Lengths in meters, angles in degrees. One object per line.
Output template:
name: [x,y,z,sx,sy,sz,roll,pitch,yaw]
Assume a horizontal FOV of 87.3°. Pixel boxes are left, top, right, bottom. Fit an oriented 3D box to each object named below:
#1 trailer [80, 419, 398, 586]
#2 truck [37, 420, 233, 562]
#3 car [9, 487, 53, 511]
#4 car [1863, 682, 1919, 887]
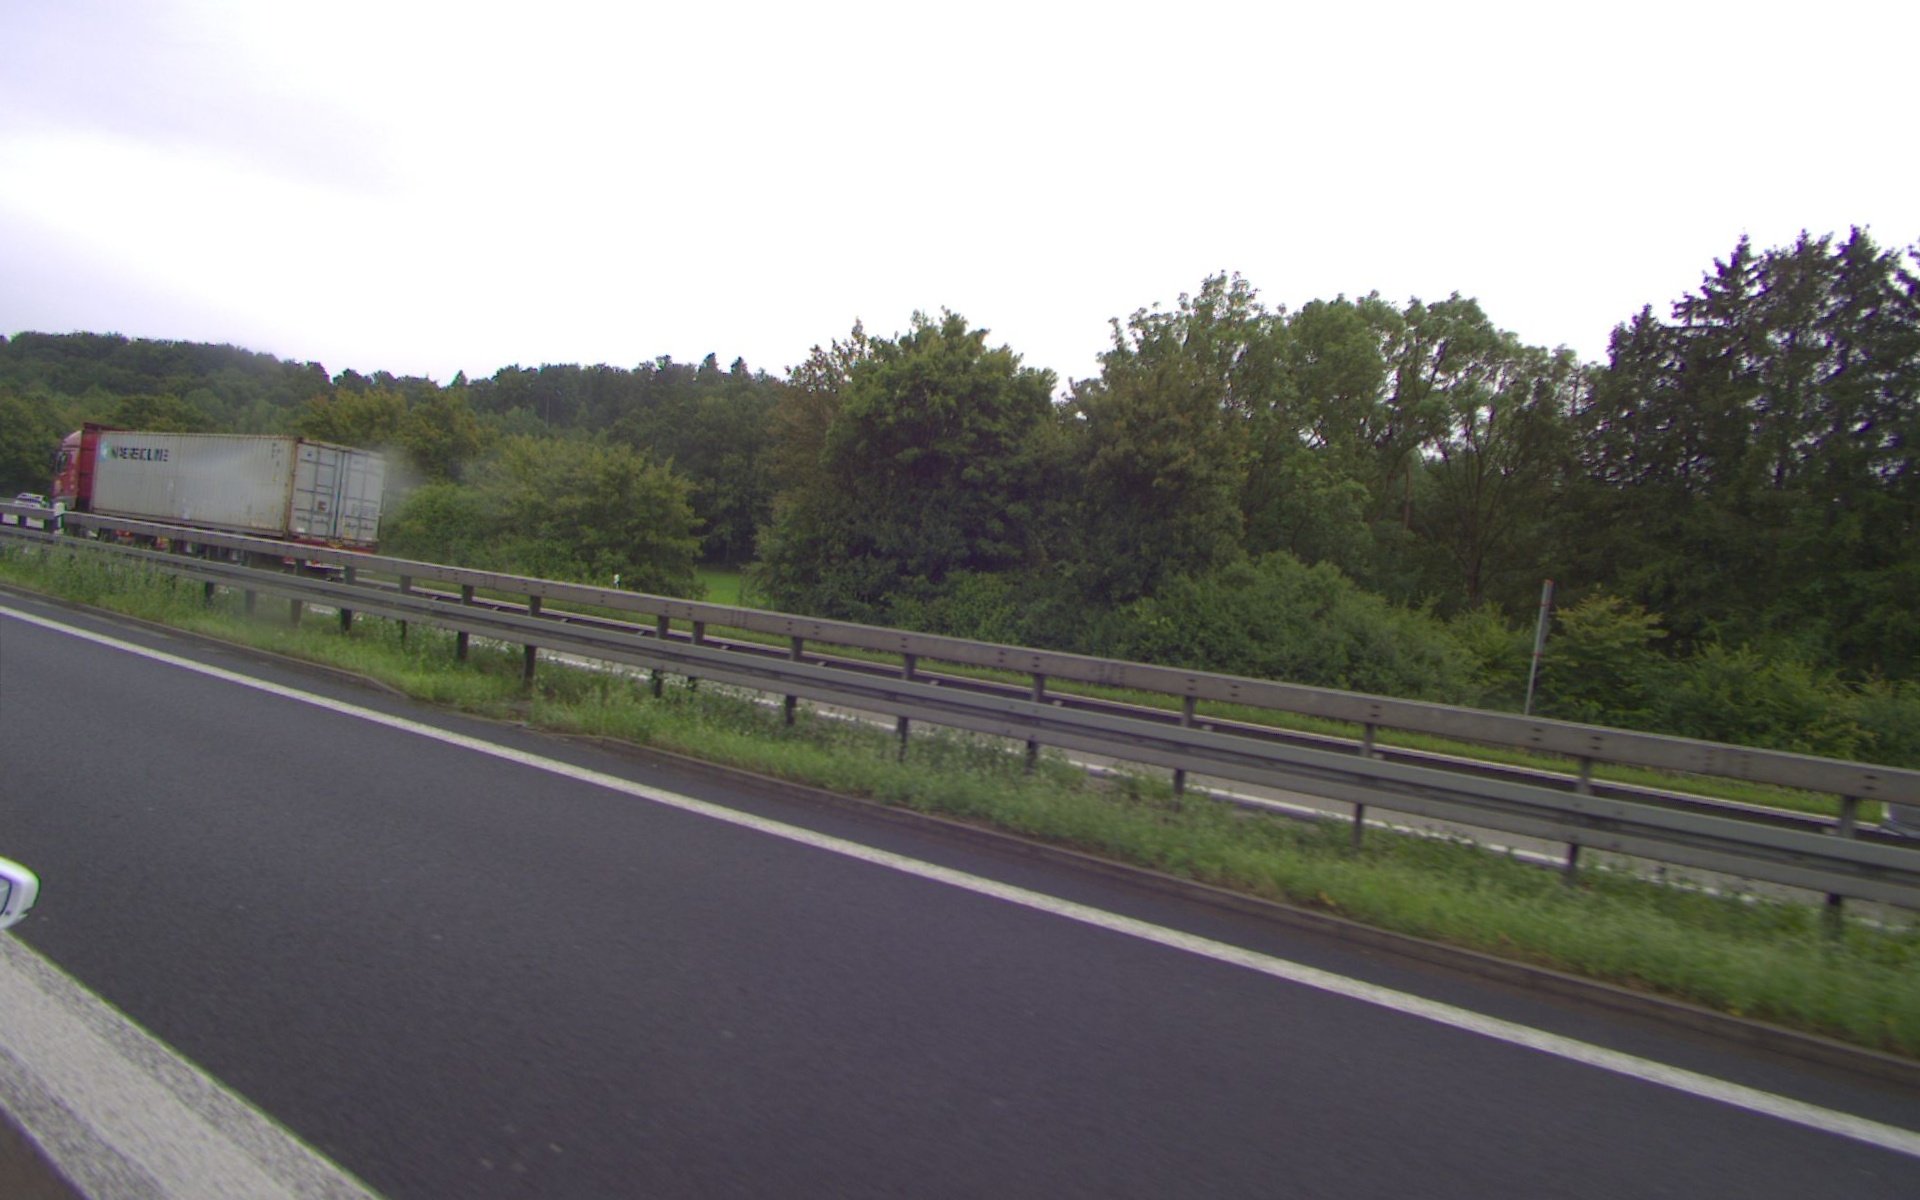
trailer: [-21.638,-3.043,29.741,12.280,3.941,2.609,6,-1,31]
truck: [-26.941,-3.595,32.781,6.284,3.931,2.621,6,-1,30]
car: [-74.929,-8.112,81.159,1.664,1.473,3.969,8,-1,-31]
car: [9.838,1.709,7.223,4.563,1.629,1.774,6,-1,29]
